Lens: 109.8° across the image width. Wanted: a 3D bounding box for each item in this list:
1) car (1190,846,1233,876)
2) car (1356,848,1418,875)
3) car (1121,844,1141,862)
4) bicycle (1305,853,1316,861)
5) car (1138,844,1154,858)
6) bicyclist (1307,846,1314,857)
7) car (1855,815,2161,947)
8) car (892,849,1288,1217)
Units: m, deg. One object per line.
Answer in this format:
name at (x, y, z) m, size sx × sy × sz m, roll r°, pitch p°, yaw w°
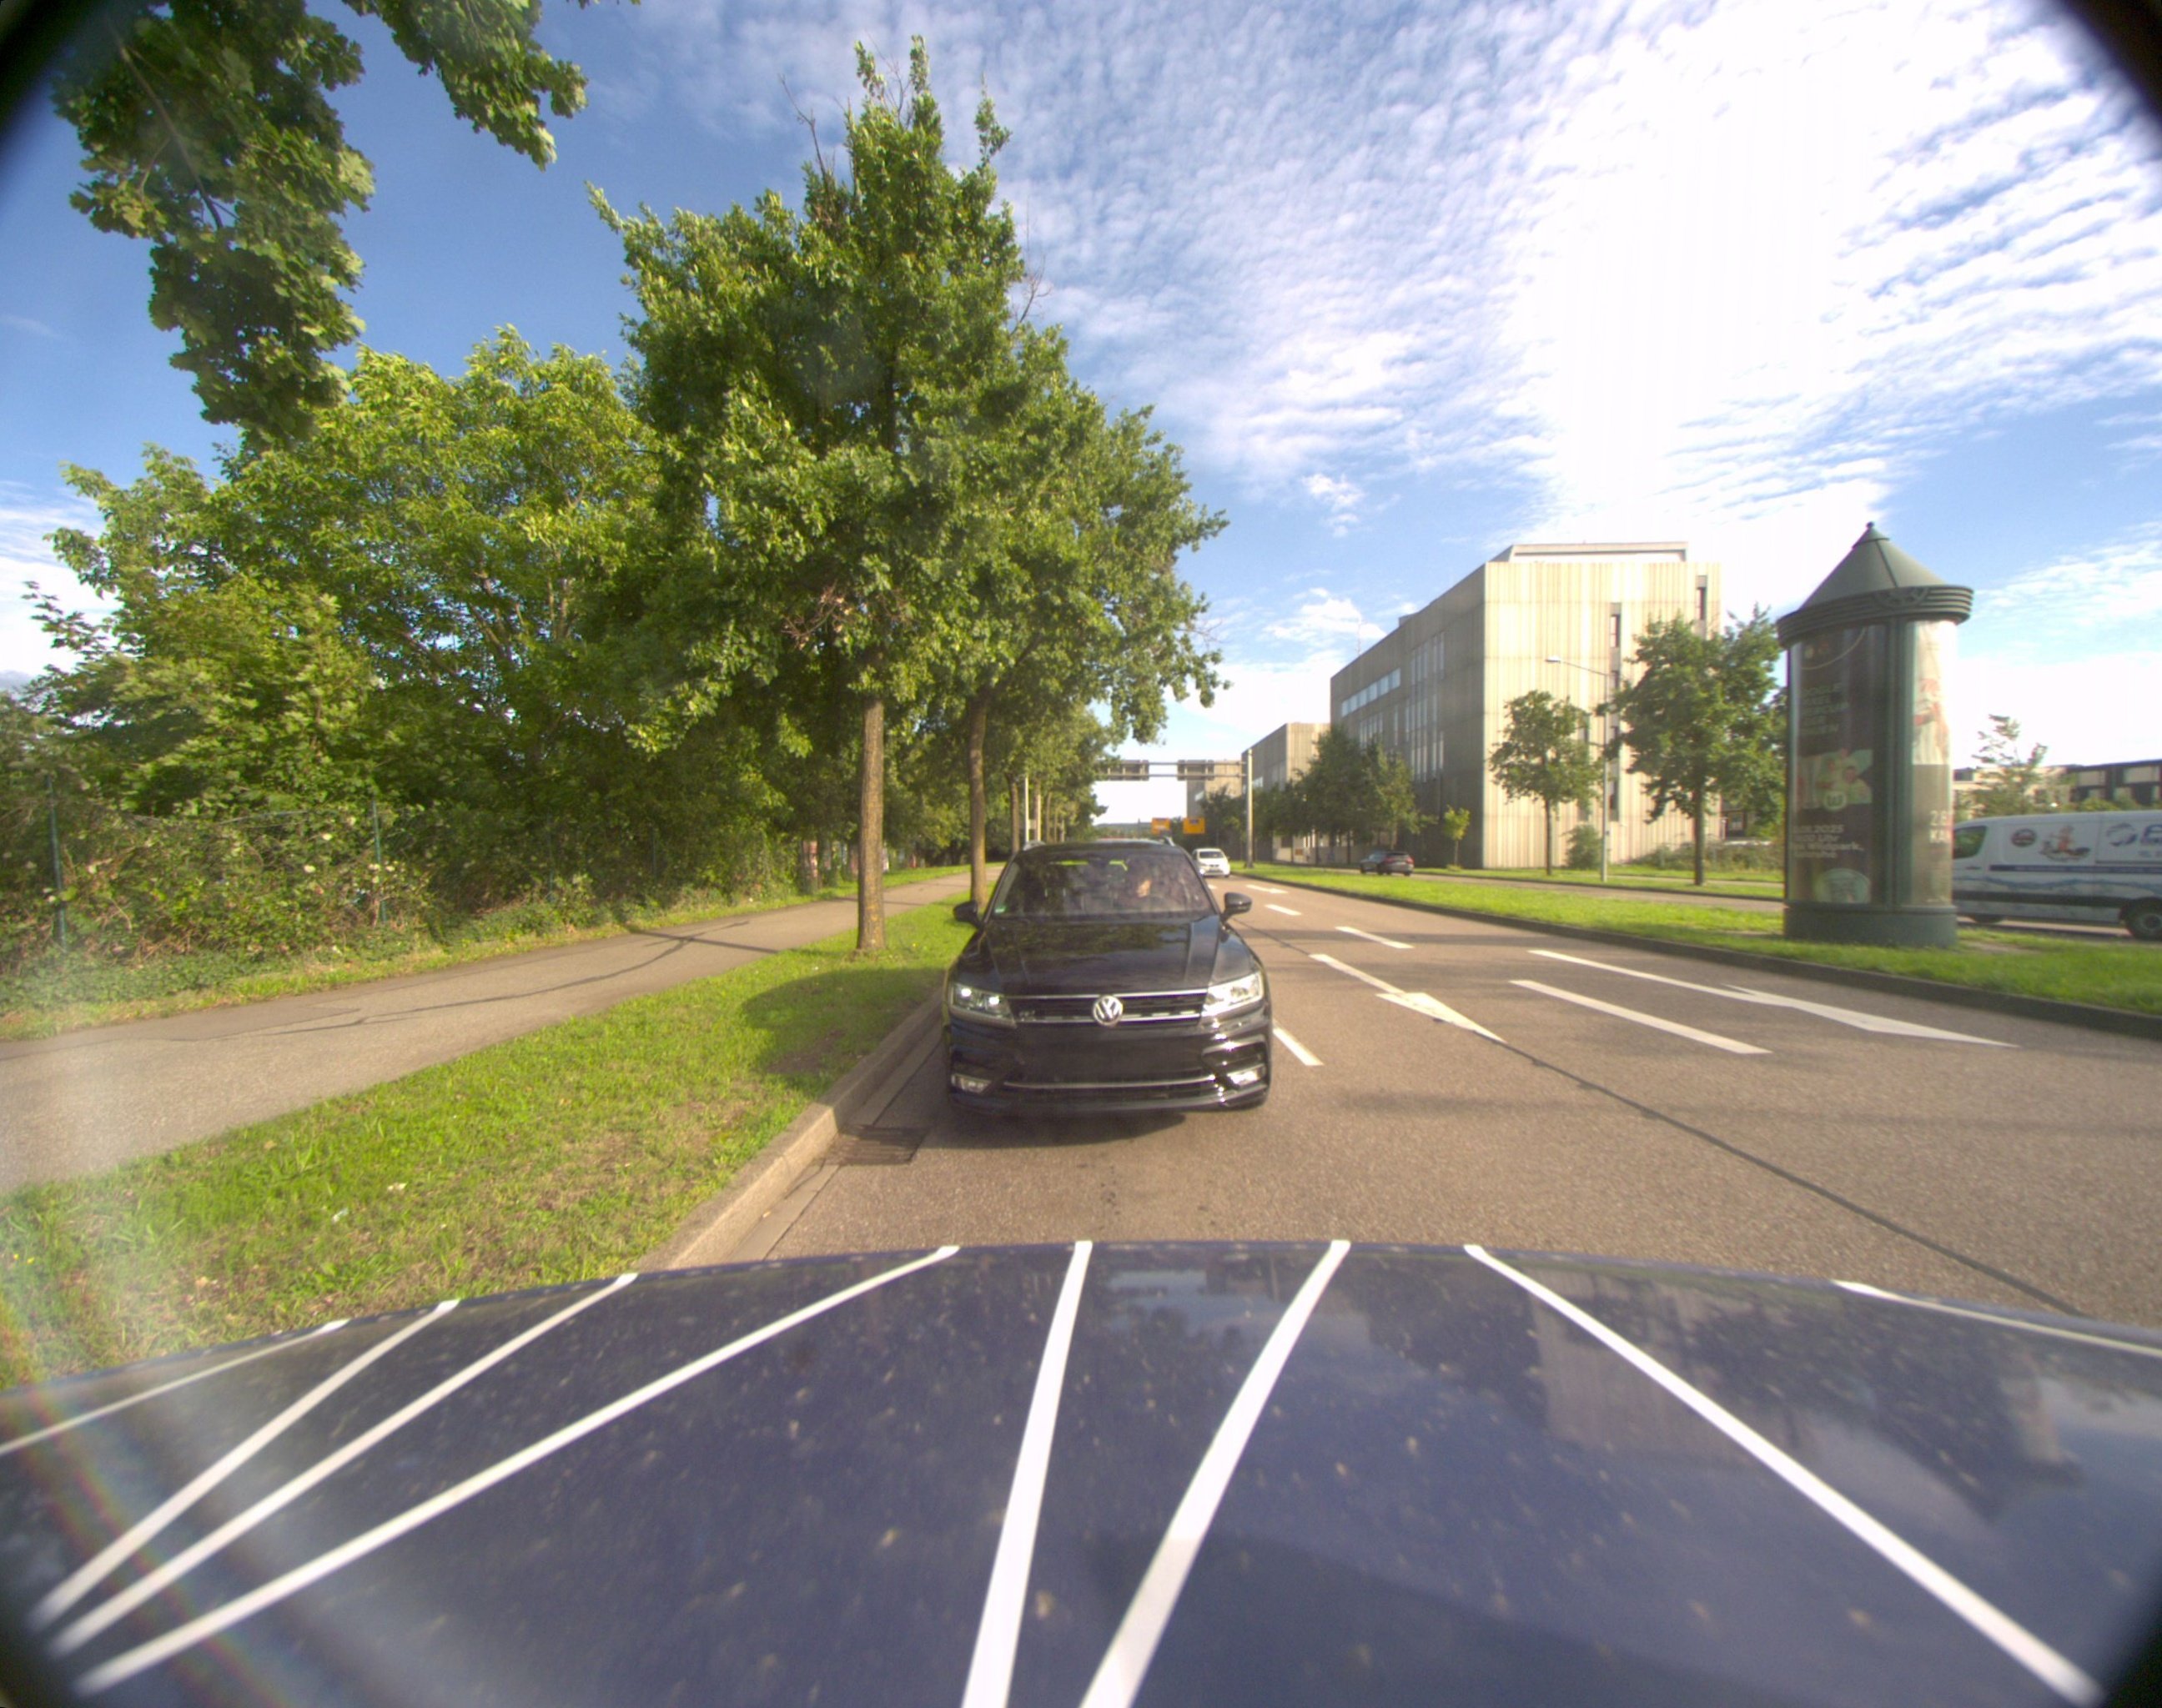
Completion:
car at (6.776, 0.327, 39.682) m, size 1.745 × 1.455 × 4.000 m, roll -1°, pitch 1°, yaw 3°
car at (17.828, 0.405, 44.426) m, size 1.905 × 1.402 × 4.207 m, roll 2°, pitch 1°, yaw 0°
car at (5.063, -0.122, 77.747) m, size 1.758 × 1.696 × 4.000 m, roll -1°, pitch 0°, yaw 0°
bicycle at (30.149, 0.397, 99.853) m, size 0.897 × 0.975 × 1.911 m, roll 0°, pitch 0°, yaw 1°
car at (9.195, -0.407, 107.975) m, size 1.998 × 2.002 × 4.000 m, roll 0°, pitch 0°, yaw 0°
bicyclist at (30.147, -0.351, 99.862) m, size 0.707 × 1.517 × 0.989 m, roll 0°, pitch 1°, yaw 1°
car at (19.164, 0.468, 14.758) m, size 1.999 × 2.222 × 5.923 m, roll 1°, pitch 0°, yaw -2°
car at (0.096, 0.823, 5.438) m, size 1.775 × 1.637 × 3.868 m, roll -2°, pitch 1°, yaw 2°
